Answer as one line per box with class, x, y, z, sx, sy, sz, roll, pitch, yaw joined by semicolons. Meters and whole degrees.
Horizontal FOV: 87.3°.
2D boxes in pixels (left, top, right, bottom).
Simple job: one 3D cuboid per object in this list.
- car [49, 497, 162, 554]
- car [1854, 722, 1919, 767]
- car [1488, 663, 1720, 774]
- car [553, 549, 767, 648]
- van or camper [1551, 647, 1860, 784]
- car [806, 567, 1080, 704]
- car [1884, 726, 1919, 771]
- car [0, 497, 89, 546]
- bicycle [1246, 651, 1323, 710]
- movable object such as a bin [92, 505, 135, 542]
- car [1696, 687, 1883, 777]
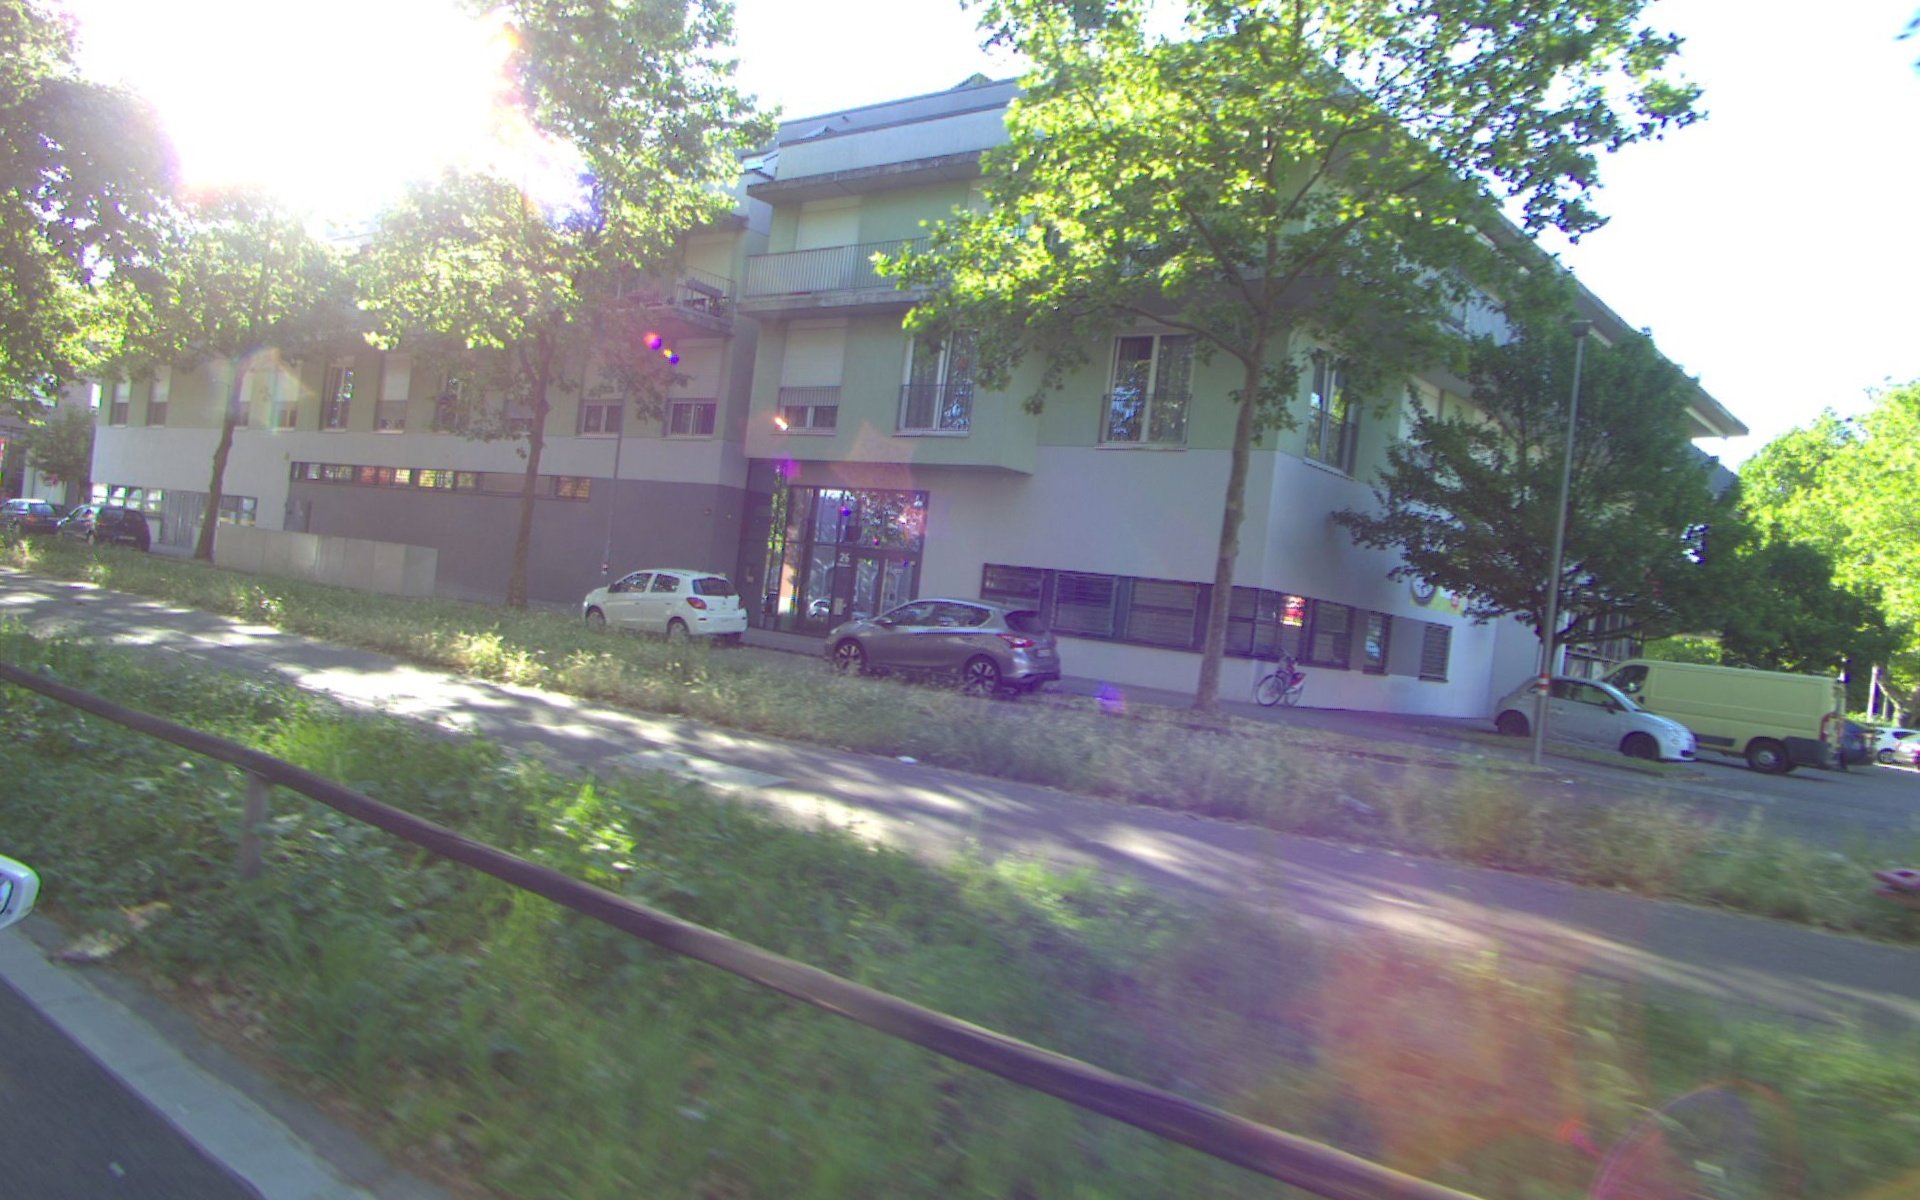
car;-30.203;-2.632;35.528;3.696;1.572;1.862;7;0;31
car;38.805;5.975;40.319;3.917;1.484;1.866;7;0;25
car;13.001;2.348;20.444;1.665;1.473;3.513;7;3;-43
car;-6.410;-0.046;21.363;4.247;1.562;1.862;7;0;31
van or camper;17.269;2.589;23.572;2.249;2.275;5.308;7;0;-41
car;-0.337;0.581;17.454;4.247;1.793;1.907;7;0;31
car;35.501;5.504;35.375;3.917;1.442;1.866;7;0;25
car;-35.877;-3.080;38.981;4.053;1.487;1.862;7;0;29
bicycle;6.444;1.609;19.950;1.668;1.030;0.581;7;0;-41
movable object such as a bin;-38.353;-3.471;45.582;1.388;1.481;1.191;7;0;42
car;22.833;3.601;27.770;1.568;1.654;3.631;7;3;-43
